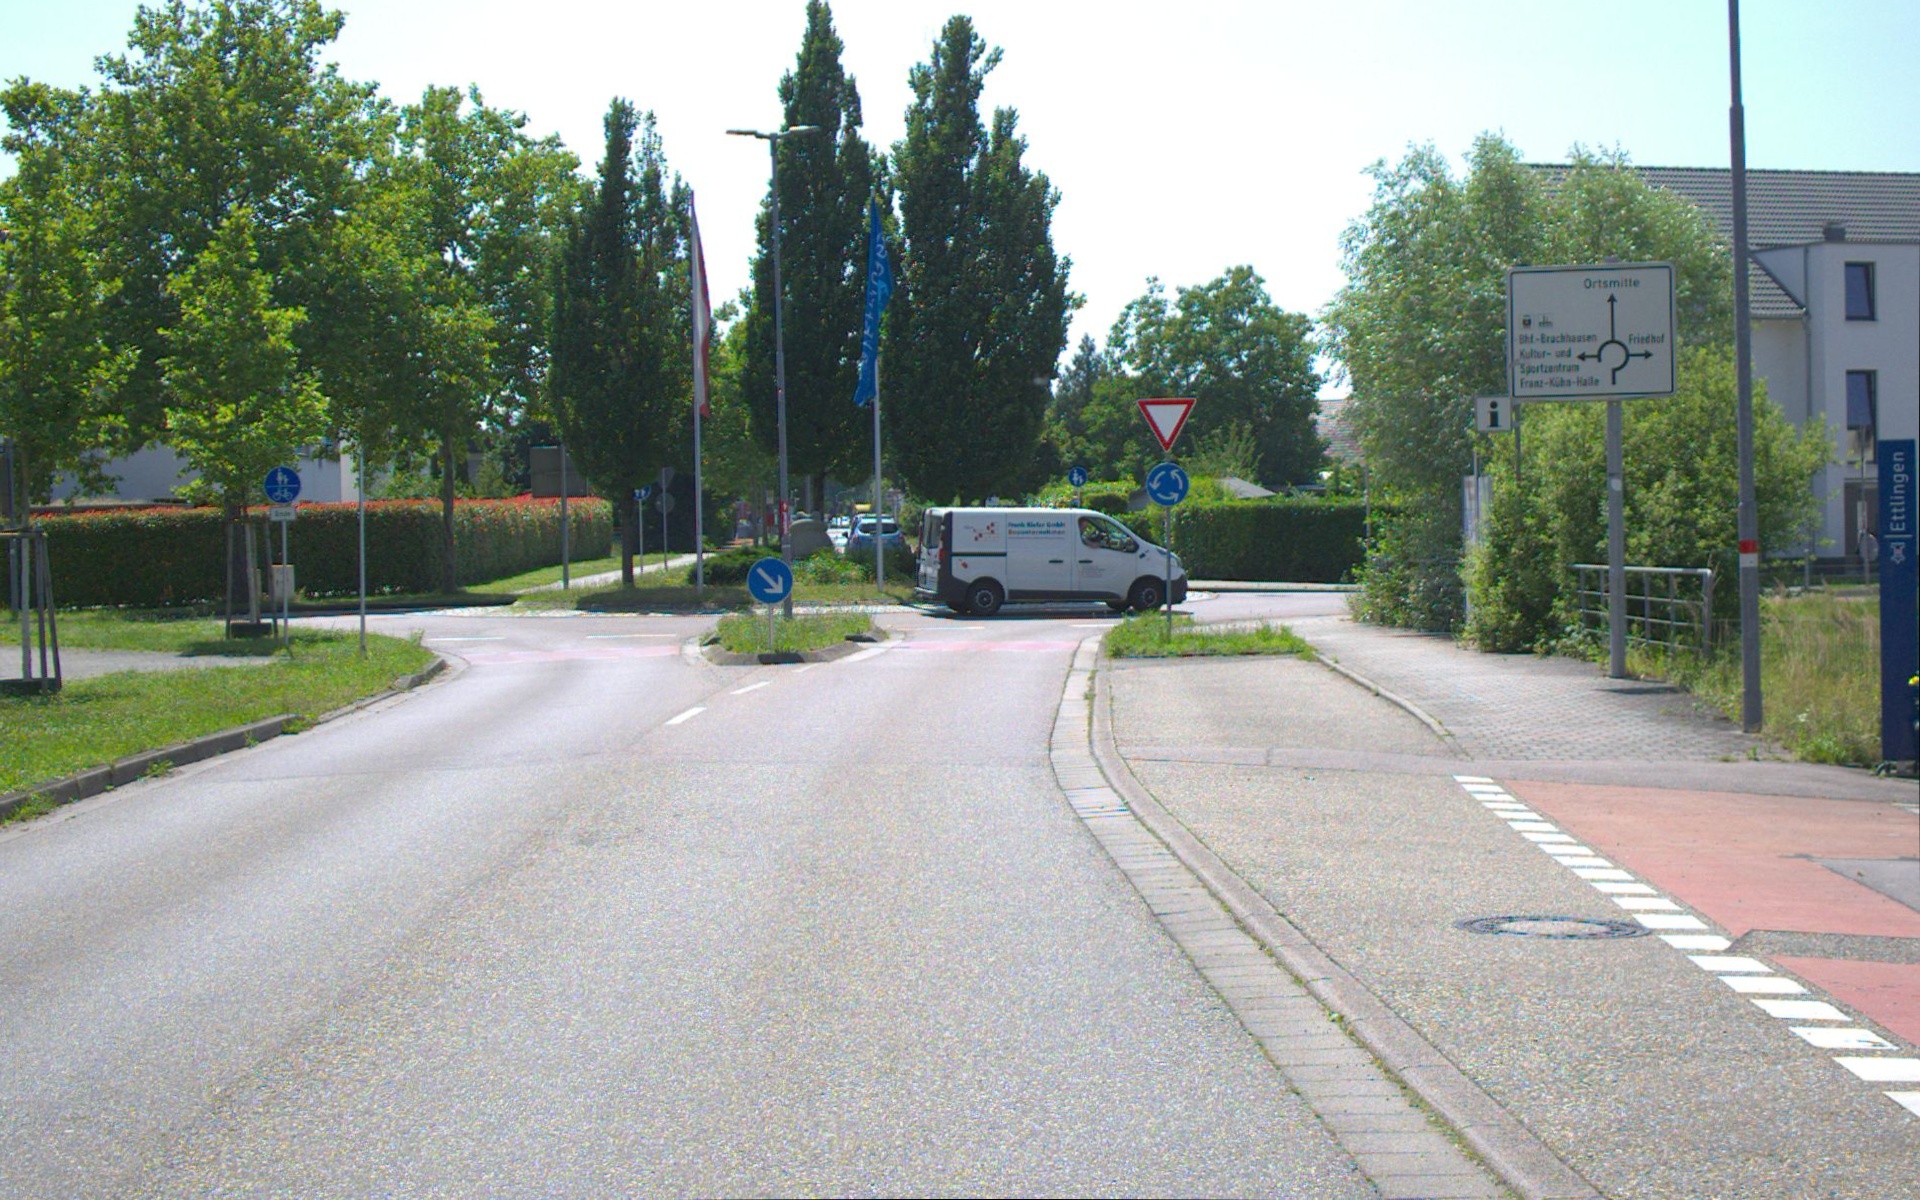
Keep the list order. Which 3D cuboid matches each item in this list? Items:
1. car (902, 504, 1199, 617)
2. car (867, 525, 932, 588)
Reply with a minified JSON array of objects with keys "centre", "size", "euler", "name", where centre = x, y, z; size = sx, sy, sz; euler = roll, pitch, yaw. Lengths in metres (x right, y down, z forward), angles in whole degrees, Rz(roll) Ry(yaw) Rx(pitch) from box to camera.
[{"centre":[1.648,-0.725,63.599],"size":[5.130,2.007,2.135],"euler":[0,1,-11],"name":"car"},{"centre":[-1.869,-1.339,105.734],"size":[1.923,1.879,4.000],"euler":[0,1,-2],"name":"car"}]
